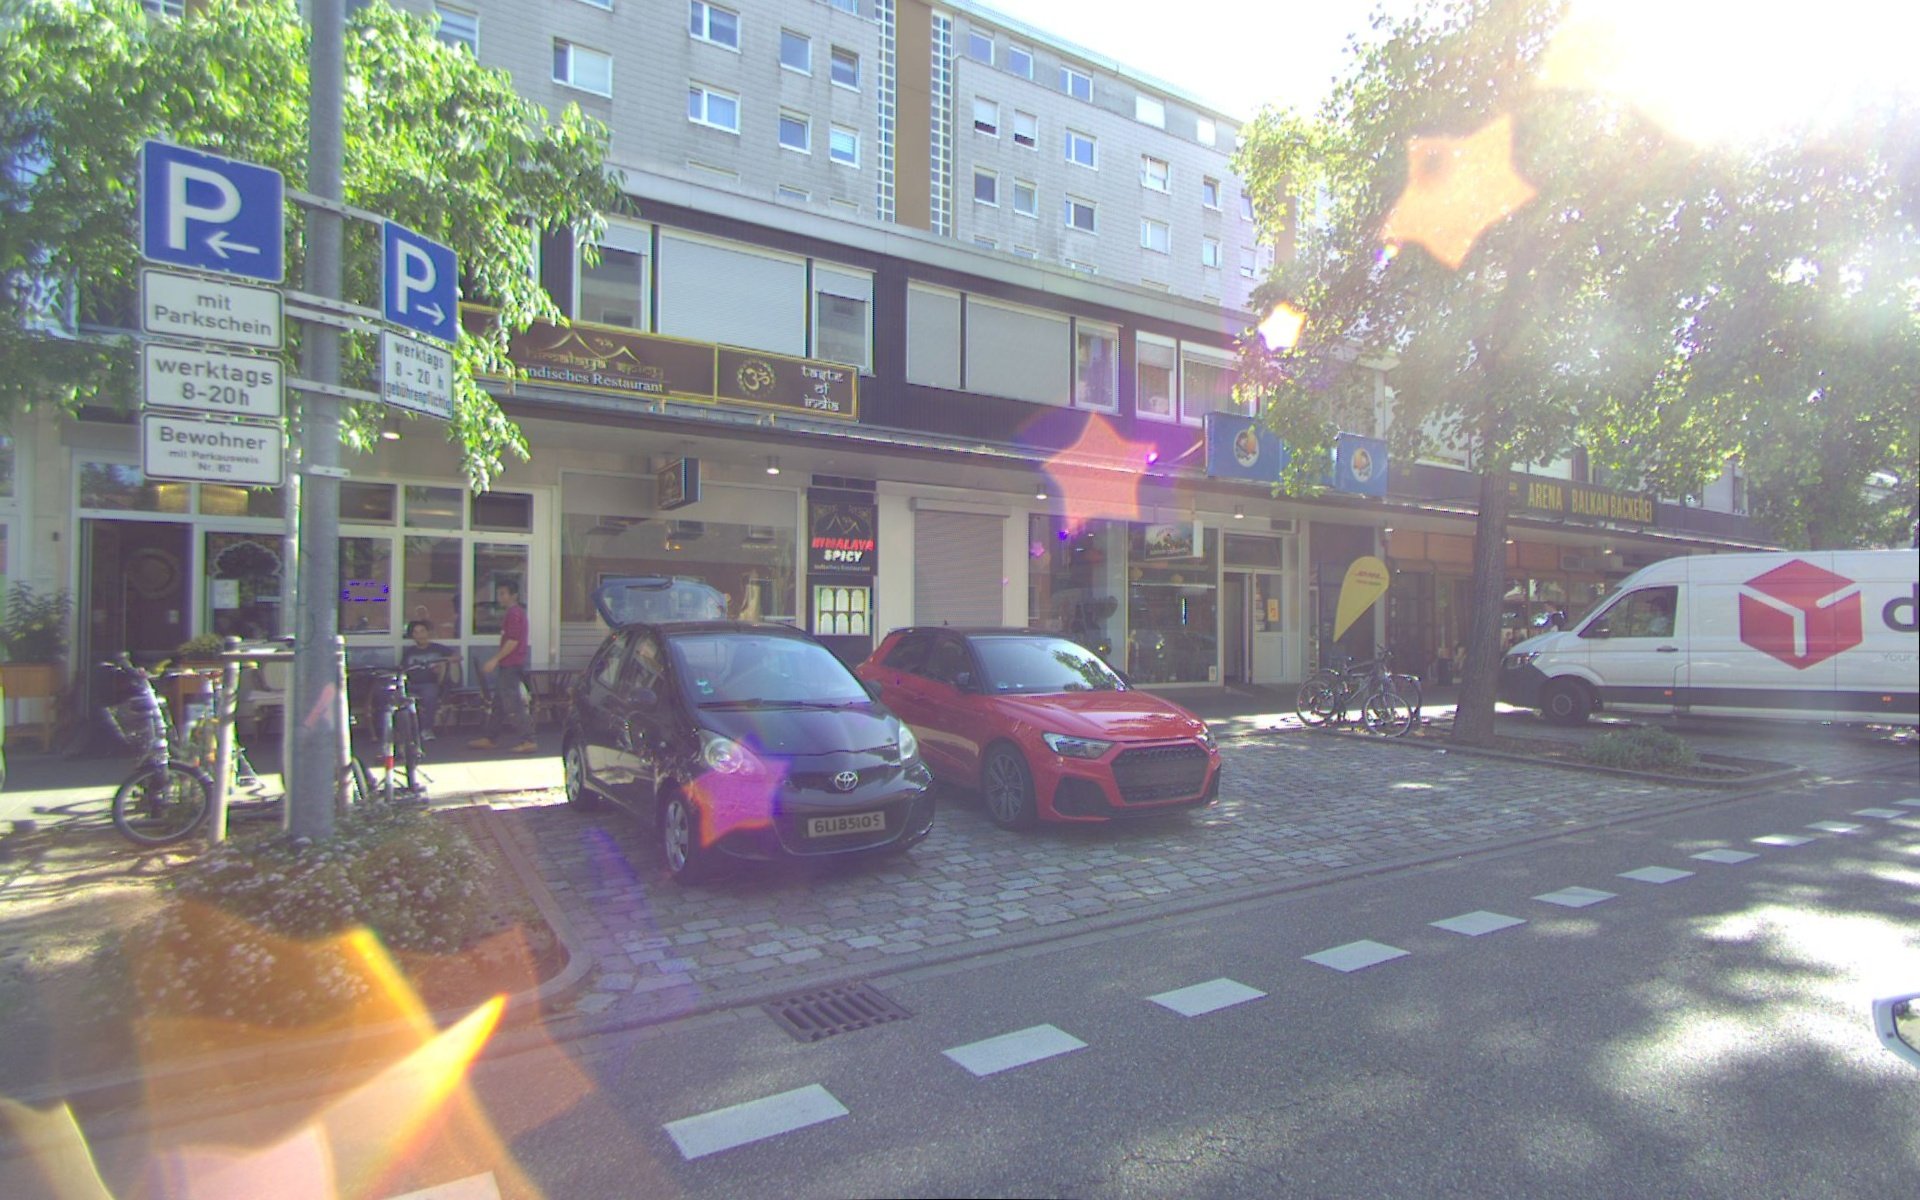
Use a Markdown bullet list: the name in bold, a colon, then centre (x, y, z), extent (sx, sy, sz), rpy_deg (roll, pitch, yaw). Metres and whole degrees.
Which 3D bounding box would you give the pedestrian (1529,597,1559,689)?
- **pedestrian**: centre (12.562, 0.923, 21.610), extent (0.357, 1.960, 0.388), rpy_deg (2, 0, -31)

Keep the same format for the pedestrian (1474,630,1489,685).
- **pedestrian**: centre (12.119, 1.332, 23.343), extent (0.212, 1.260, 0.211), rpy_deg (2, 0, -31)

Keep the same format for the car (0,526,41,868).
- **car**: centre (-5.396, 0.553, 3.810), extent (1.852, 1.964, 5.003), rpy_deg (1, 0, -31)

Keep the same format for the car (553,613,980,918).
- **car**: centre (-1.570, 0.867, 7.008), extent (1.597, 1.470, 3.642), rpy_deg (1, 0, -35)

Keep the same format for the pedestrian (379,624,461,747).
- **pedestrian**: centre (-5.837, 0.894, 10.848), extent (0.738, 1.262, 0.646), rpy_deg (1, -1, -32)

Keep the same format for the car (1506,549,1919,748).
- **car**: centre (11.507, 0.649, 14.285), extent (6.489, 2.506, 1.995), rpy_deg (-1, -1, 32)

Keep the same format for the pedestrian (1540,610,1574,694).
- **pedestrian**: centre (12.494, 1.083, 21.030), extent (0.496, 1.728, 0.388), rpy_deg (2, 0, -31)

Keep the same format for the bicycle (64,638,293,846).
- **bicycle**: centre (-5.332, 0.870, 7.027), extent (0.791, 1.183, 2.229), rpy_deg (1, -2, -26)

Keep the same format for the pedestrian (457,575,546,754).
- **pedestrian**: centre (-4.587, 0.636, 10.072), extent (0.622, 1.735, 0.581), rpy_deg (0, -1, -4)

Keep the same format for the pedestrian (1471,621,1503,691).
- **pedestrian**: centre (11.400, 1.195, 21.734), extent (0.416, 1.492, 0.465), rpy_deg (1, -2, -35)

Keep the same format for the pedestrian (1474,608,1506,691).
- **pedestrian**: centre (11.712, 1.093, 22.197), extent (0.423, 1.805, 0.481), rpy_deg (1, -2, -35)

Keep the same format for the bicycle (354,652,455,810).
- **bicycle**: centre (-4.433, 0.964, 7.962), extent (0.608, 1.053, 1.853), rpy_deg (1, -2, -31)

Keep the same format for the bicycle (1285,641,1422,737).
- **bicycle**: centre (5.294, 1.158, 13.615), extent (0.615, 1.132, 1.712), rpy_deg (1, 0, -28)

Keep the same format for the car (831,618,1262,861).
- **car**: centre (0.468, 0.937, 8.512), extent (1.690, 1.470, 3.898), rpy_deg (1, 0, -31)

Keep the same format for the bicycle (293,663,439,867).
- **bicycle**: centre (-3.854, 0.963, 6.450), extent (0.609, 1.053, 1.849), rpy_deg (1, -2, -36)

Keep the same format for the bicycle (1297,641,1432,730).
- **bicycle**: centre (5.839, 1.200, 14.605), extent (0.579, 1.121, 1.860), rpy_deg (1, 0, -28)
